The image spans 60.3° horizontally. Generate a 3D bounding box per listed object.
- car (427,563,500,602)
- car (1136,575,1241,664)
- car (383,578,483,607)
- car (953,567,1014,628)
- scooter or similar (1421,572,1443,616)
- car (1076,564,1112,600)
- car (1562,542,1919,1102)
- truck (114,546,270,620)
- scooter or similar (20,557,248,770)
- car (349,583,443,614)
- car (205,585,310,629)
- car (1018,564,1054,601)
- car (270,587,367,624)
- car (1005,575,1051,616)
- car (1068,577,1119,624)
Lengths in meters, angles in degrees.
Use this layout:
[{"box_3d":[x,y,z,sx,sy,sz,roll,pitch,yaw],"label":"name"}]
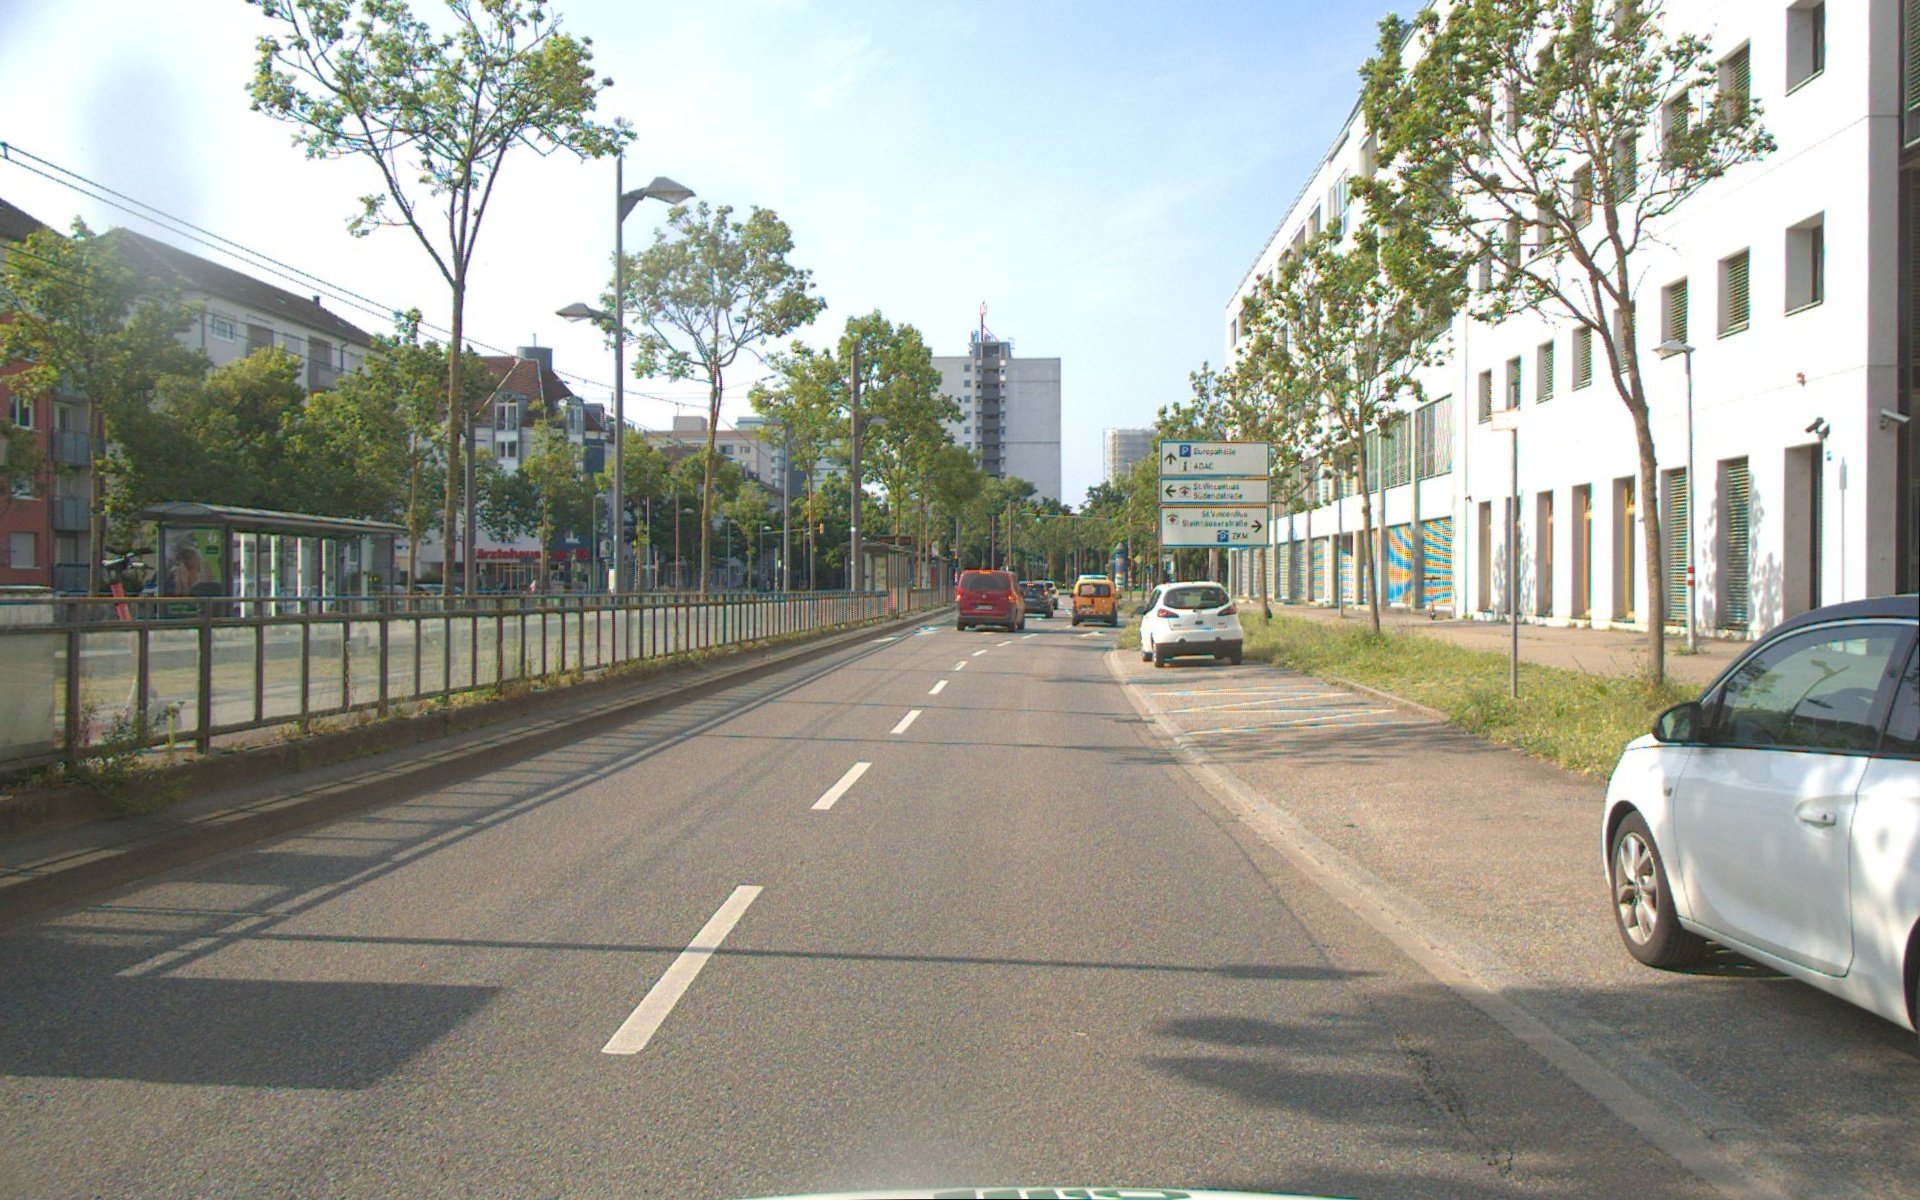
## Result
[{"box_3d":[-28.065,-0.997,93.744,2.316,2.066,5.313,2,0,2],"label":"car"},{"box_3d":[4.348,0.332,31.904,1.653,1.552,3.852,-2,0,3],"label":"car"},{"box_3d":[-23.737,-0.331,74.484,3.903,1.266,1.940,0,0,18],"label":"car"},{"box_3d":[0.780,-0.096,52.635,1.835,1.886,4.001,0,1,2],"label":"car"},{"box_3d":[13.570,-0.192,47.569,0.452,1.234,1.256,-1,1,9],"label":"scooter or similar"},{"box_3d":[7.859,-1.060,97.174,1.952,2.049,4.002,-1,1,3],"label":"car"},{"box_3d":[3.528,0.588,5.650,1.684,1.545,3.782,0,1,2],"label":"car"},{"box_3d":[-29.317,-0.631,63.517,2.316,2.607,7.243,2,0,2],"label":"truck"},{"box_3d":[-5.184,0.370,10.441,0.418,1.260,1.259,-1,0,30],"label":"scooter or similar"},{"box_3d":[-24.164,-0.092,70.817,3.917,1.266,1.827,1,1,34],"label":"car"},{"box_3d":[-26.240,0.249,61.935,1.939,1.540,4.282,2,0,2],"label":"car"},{"box_3d":[4.312,-0.984,94.435,1.952,2.049,4.001,-1,1,2],"label":"car"},{"box_3d":[-26.068,0.216,67.413,1.939,1.403,4.685,2,0,2],"label":"car"},{"box_3d":[2.988,-0.206,72.589,1.952,1.735,4.002,-1,1,3],"label":"car"},{"box_3d":[4.991,0.001,62.262,1.836,1.726,3.975,0,1,3],"label":"car"}]
